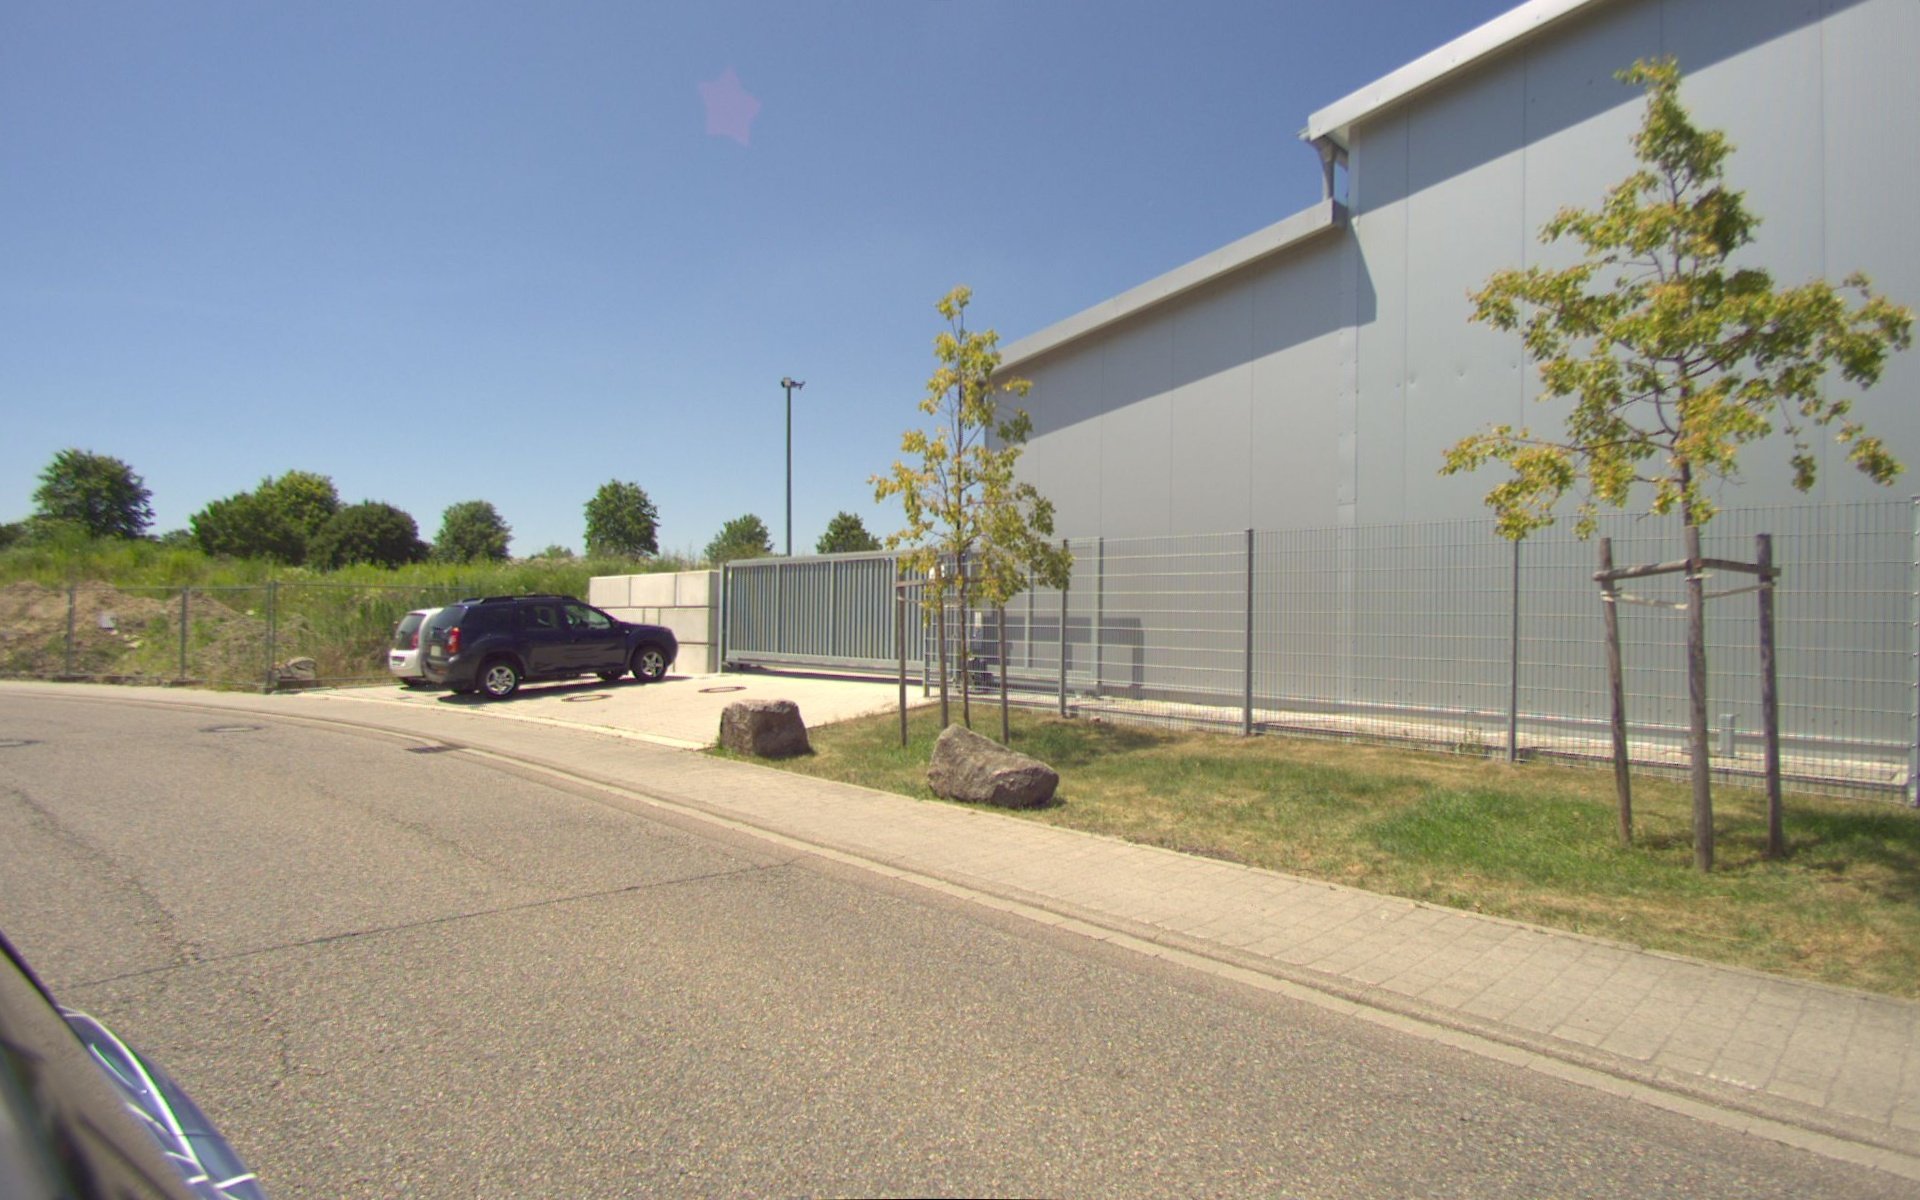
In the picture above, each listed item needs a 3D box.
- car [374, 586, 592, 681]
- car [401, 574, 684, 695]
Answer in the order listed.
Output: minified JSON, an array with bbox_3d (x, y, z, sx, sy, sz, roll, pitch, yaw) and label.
[{"bbox_3d":[-9.087,0.574,19.414,1.782,1.472,3.323,0,3,44],"label":"car"},{"bbox_3d":[-7.146,0.494,17.602,4.114,1.671,1.783,-5,3,-44],"label":"car"}]
